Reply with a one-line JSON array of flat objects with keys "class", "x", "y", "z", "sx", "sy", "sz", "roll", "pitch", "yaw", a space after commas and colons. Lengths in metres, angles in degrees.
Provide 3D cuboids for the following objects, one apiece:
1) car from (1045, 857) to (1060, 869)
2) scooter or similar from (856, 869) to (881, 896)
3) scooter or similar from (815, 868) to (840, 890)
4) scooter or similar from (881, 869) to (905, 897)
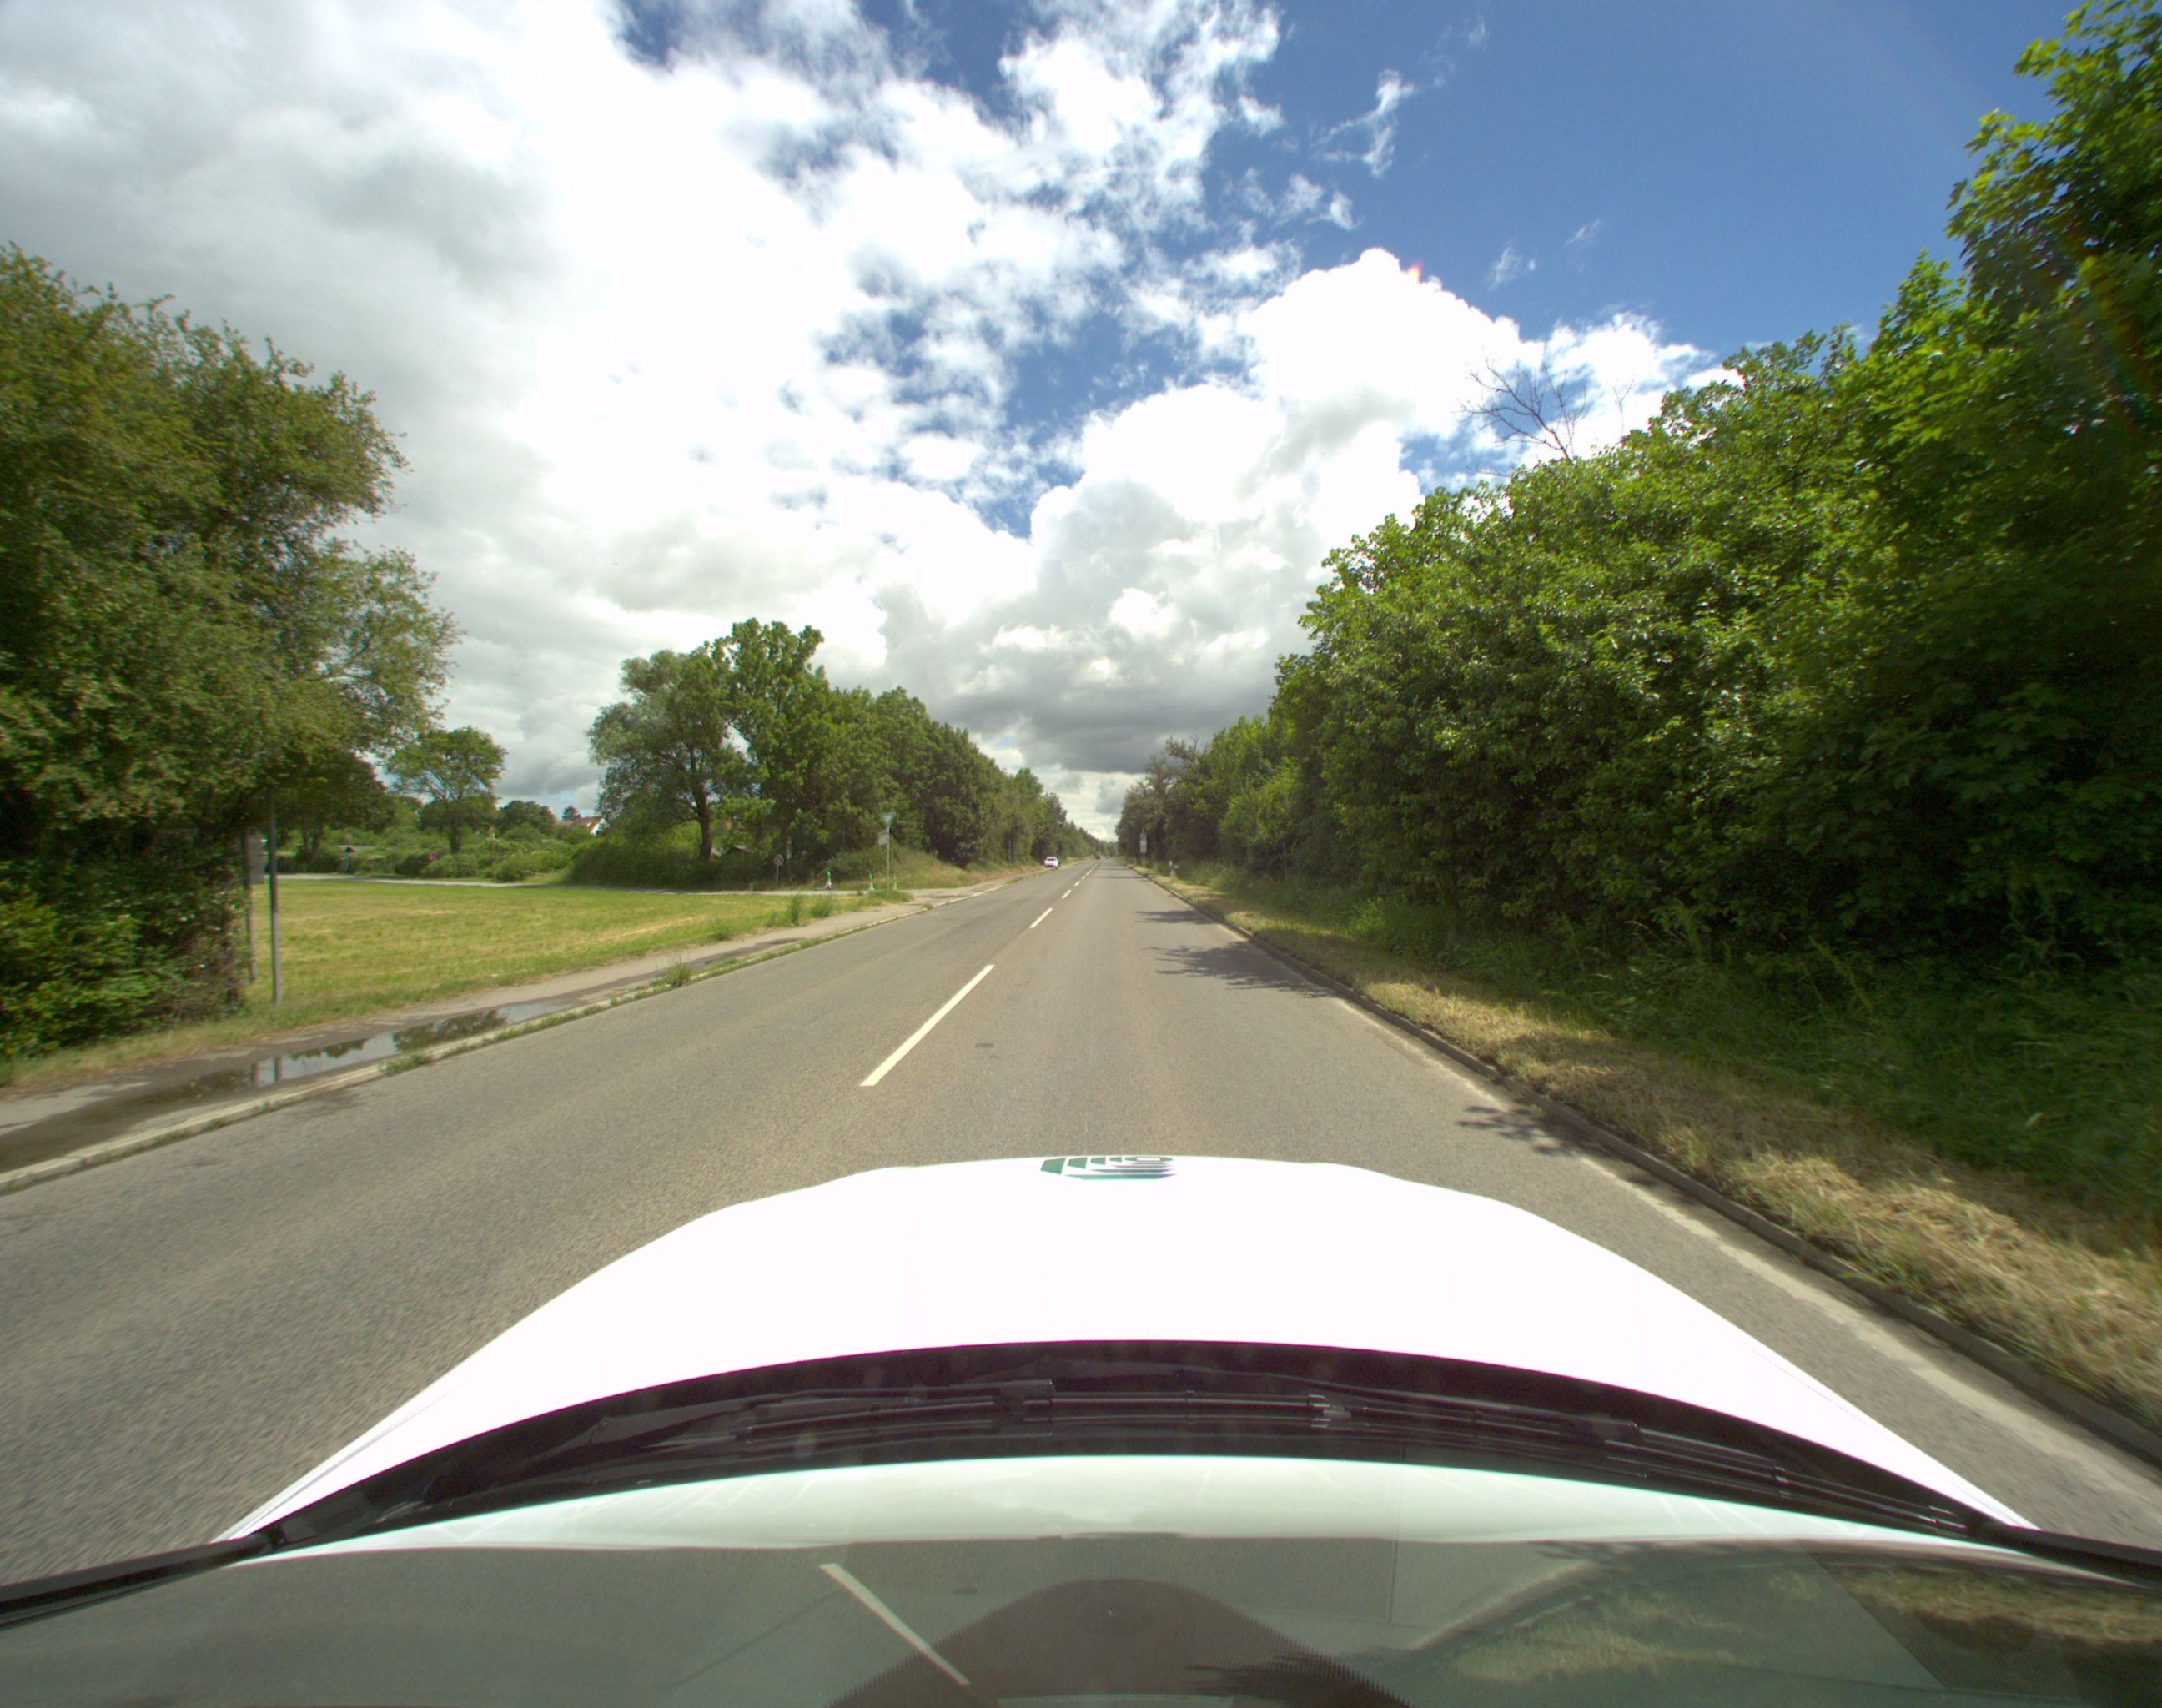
[{"class": "car", "x": -3.838, "y": 1.257, "z": 110.953, "sx": 1.791, "sy": 1.543, "sz": 3.956, "roll": -2, "pitch": -1, "yaw": 2}, {"class": "scooter or similar", "x": -9.484, "y": 1.280, "z": 36.278, "sx": 1.334, "sy": 1.168, "sz": 0.409, "roll": -1, "pitch": 0, "yaw": 42}, {"class": "scooter or similar", "x": -13.515, "y": 1.346, "z": 43.432, "sx": 1.234, "sy": 1.168, "sz": 0.408, "roll": -1, "pitch": 0, "yaw": 14}, {"class": "scooter or similar", "x": -8.205, "y": 1.256, "z": 35.590, "sx": 0.409, "sy": 1.168, "sz": 1.335, "roll": -1, "pitch": 0, "yaw": -42}]
